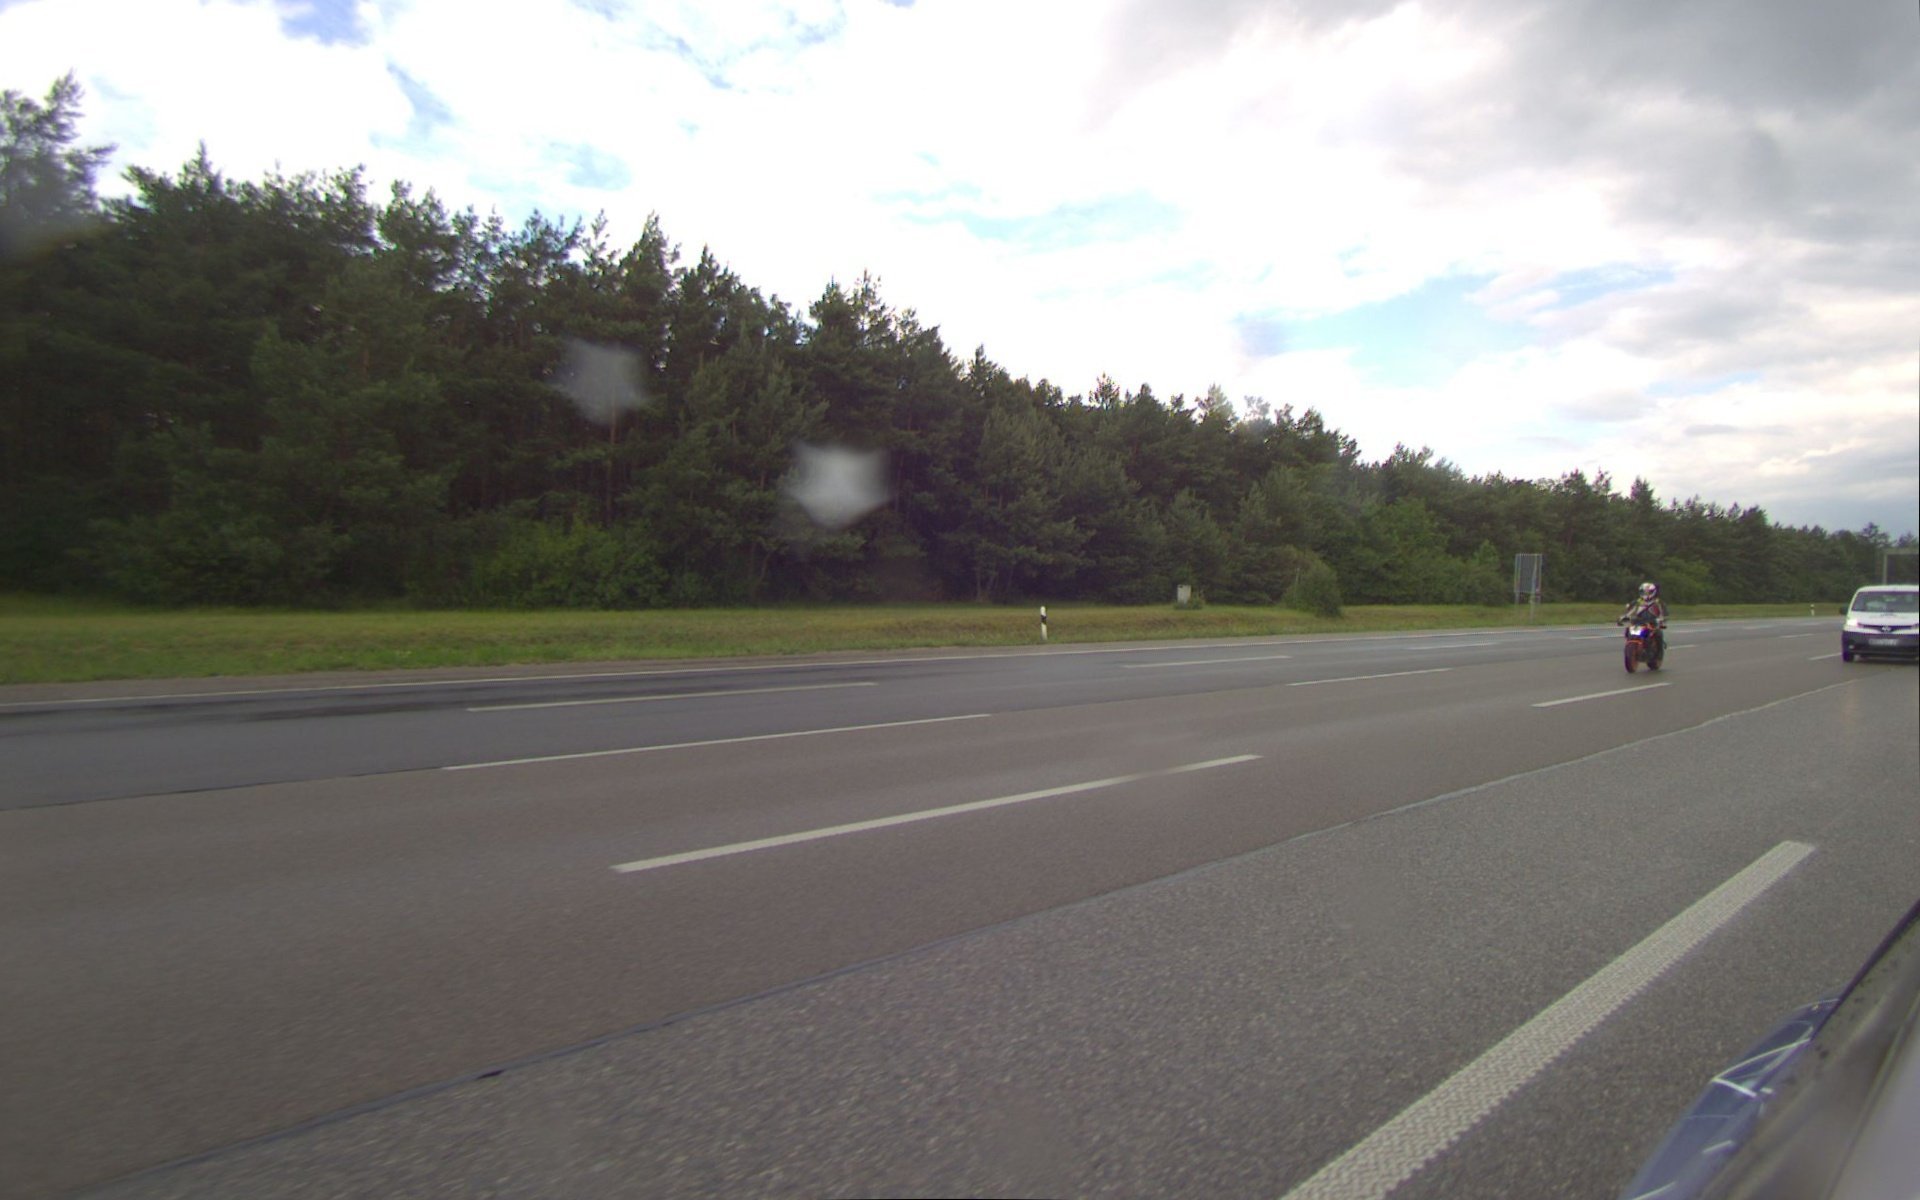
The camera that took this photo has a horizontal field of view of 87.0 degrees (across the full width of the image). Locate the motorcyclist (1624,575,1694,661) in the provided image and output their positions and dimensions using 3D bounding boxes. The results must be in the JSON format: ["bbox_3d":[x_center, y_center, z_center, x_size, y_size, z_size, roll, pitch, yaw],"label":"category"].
[{"bbox_3d":[13.814,0.338,19.999,0.941,1.635,0.893,0,1,-38],"label":"motorcyclist"}]

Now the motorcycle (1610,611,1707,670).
[{"bbox_3d":[13.806,0.770,19.989,2.134,1.044,1.002,0,1,-38],"label":"motorcycle"}]

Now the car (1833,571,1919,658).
[{"bbox_3d":[22.933,0.321,24.414,4.792,1.925,1.969,0,1,-38],"label":"car"}]

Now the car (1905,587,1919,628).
[{"bbox_3d":[50.505,0.401,51.918,5.379,2.039,2.000,1,0,-36],"label":"car"}]
